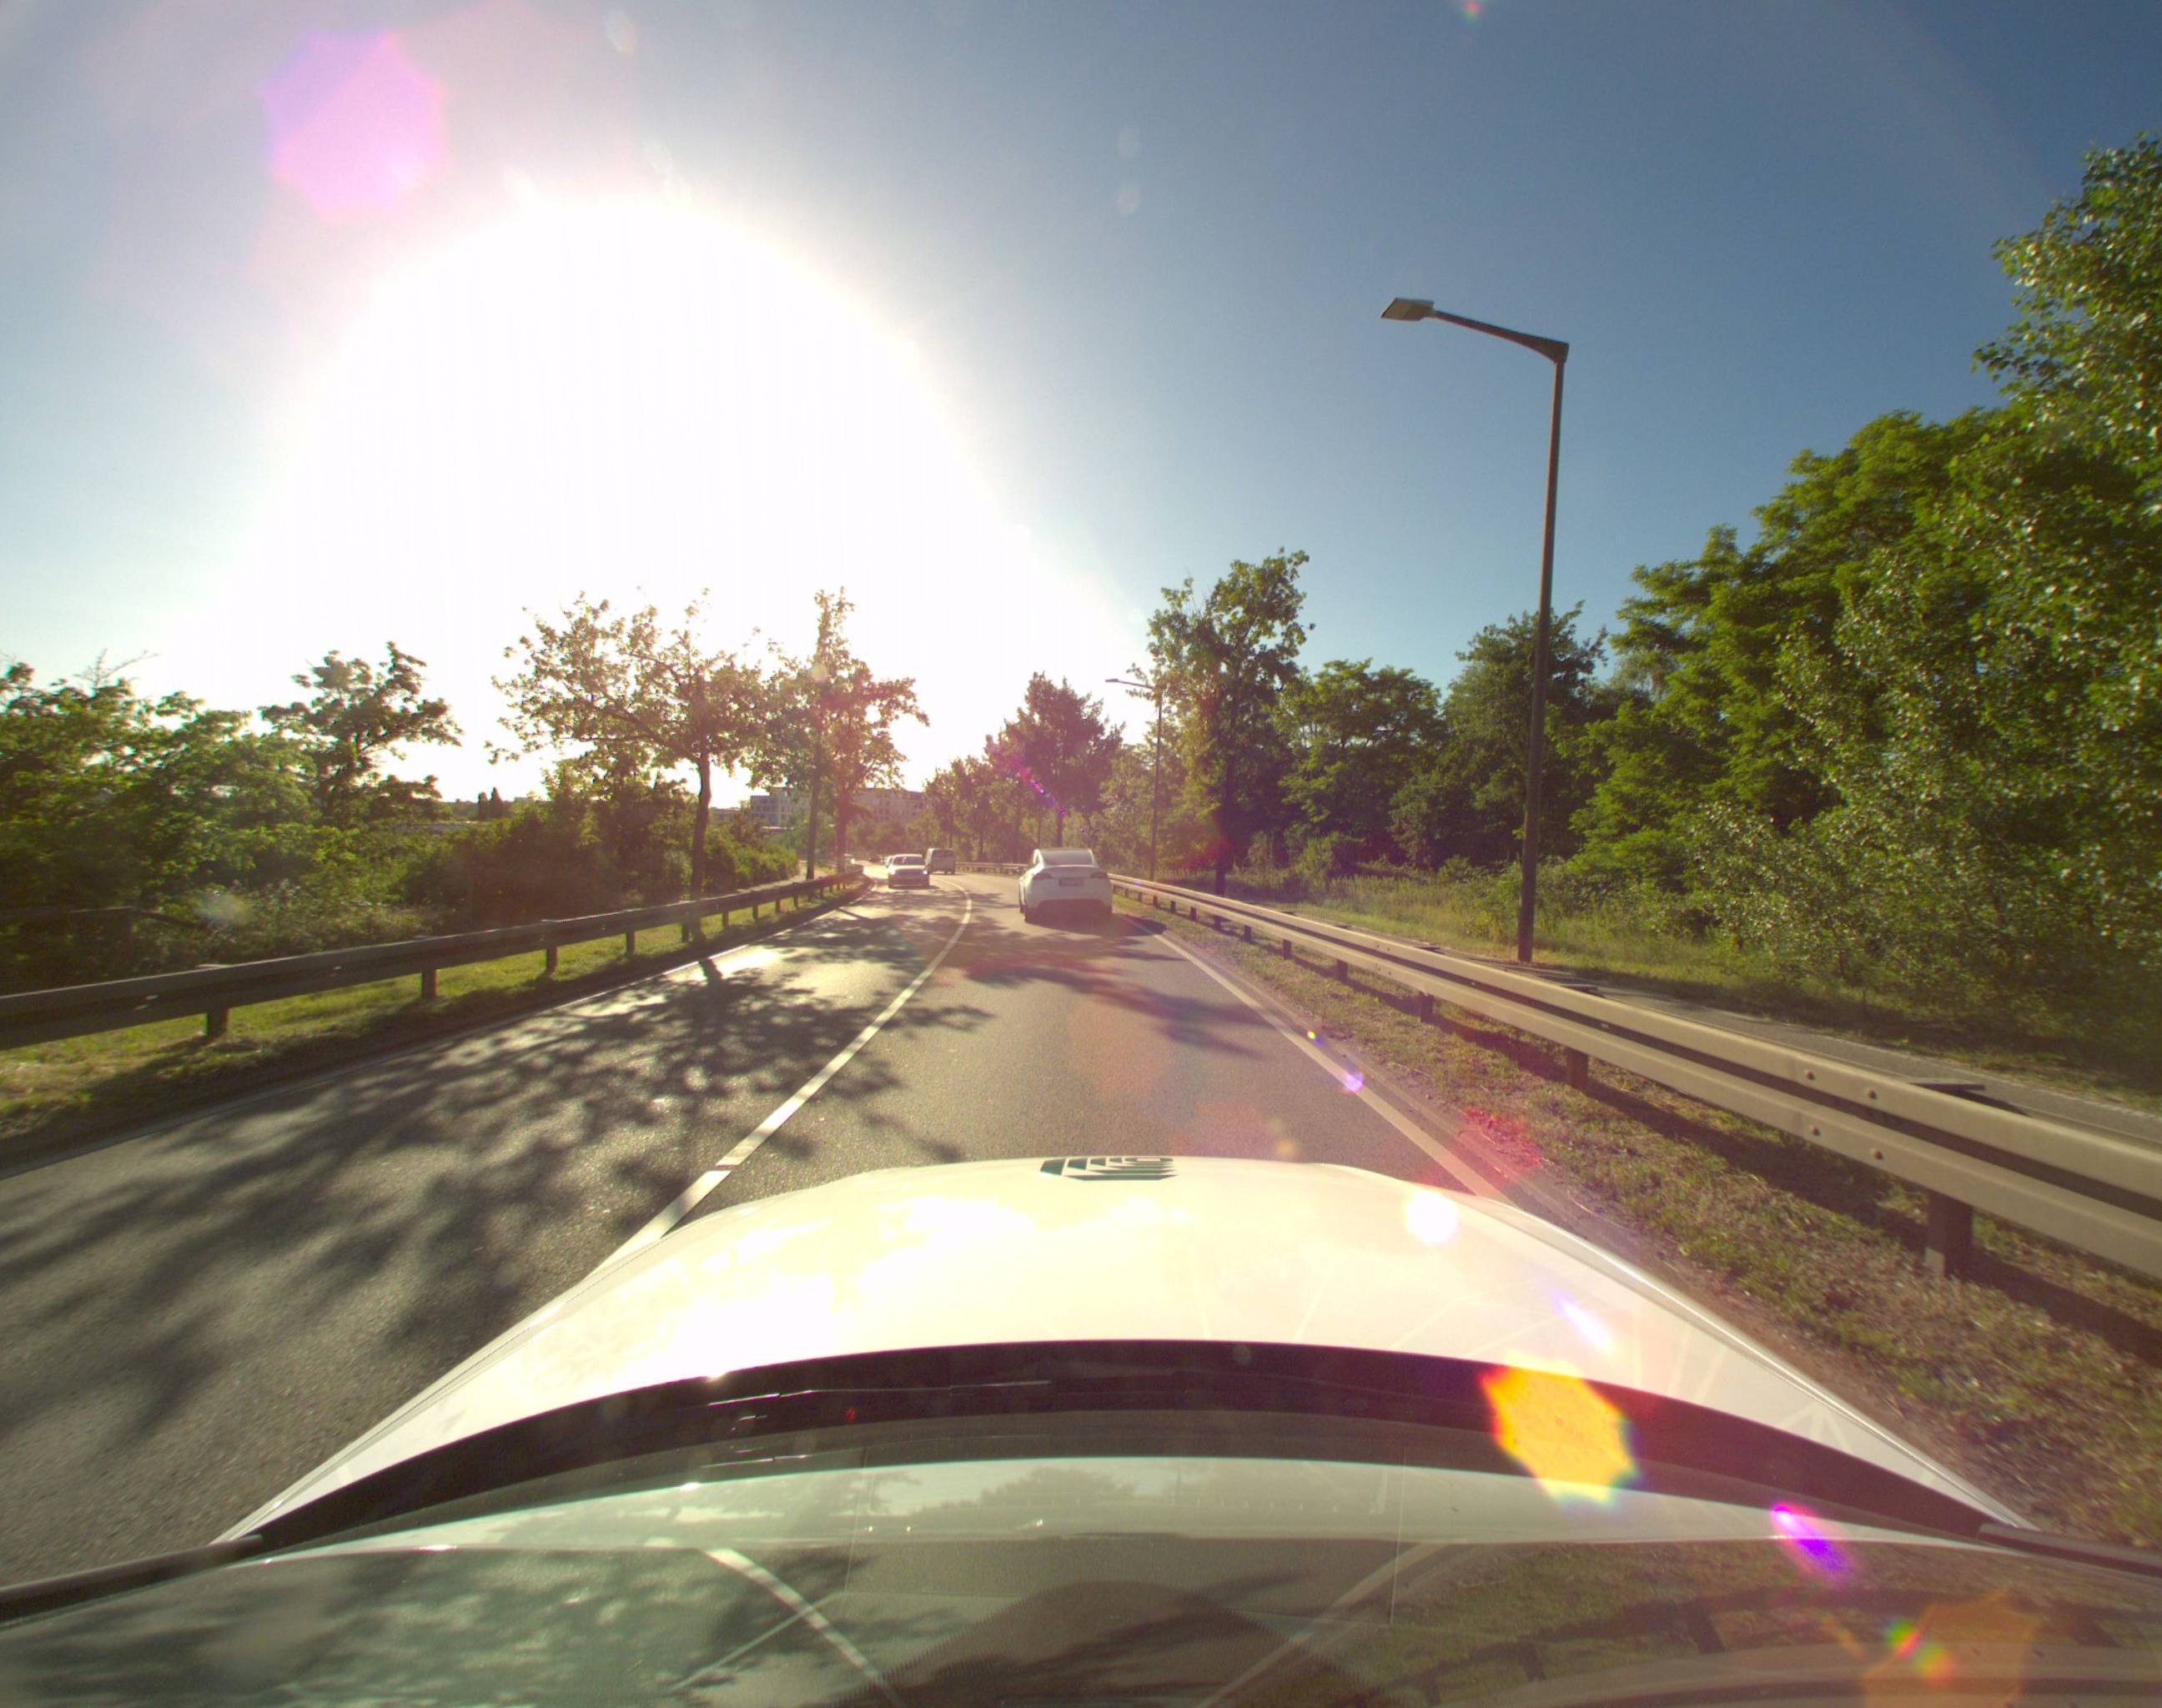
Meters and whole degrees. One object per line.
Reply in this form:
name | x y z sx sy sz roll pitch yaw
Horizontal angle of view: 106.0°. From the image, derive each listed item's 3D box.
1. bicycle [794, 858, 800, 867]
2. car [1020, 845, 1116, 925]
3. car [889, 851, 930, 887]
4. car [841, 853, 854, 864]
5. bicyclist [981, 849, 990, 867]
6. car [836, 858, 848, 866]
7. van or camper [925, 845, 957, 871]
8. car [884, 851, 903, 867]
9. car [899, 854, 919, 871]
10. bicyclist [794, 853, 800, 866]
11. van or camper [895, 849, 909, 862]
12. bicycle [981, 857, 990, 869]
bicycle | -34.977 1.058 100.179 0.662 1.095 2.094 0 0 -20
car | -0.421 0.637 18.984 1.911 1.641 4.401 0 0 -5
car | -7.597 0.630 36.173 1.696 1.518 3.965 0 0 -12
car | -34.592 0.669 120.457 1.813 1.554 4.117 0 0 -17
bicyclist | -8.305 0.352 70.962 0.706 1.578 1.002 0 -1 -6
car | -46.224 1.552 157.464 1.856 1.492 4.684 0 0 -20
van or camper | -10.478 0.297 60.665 1.962 1.884 4.854 0 0 -15
car | -22.847 0.637 99.241 1.910 1.802 4.114 2 0 -10
car | -16.311 0.818 77.027 1.607 1.435 3.659 2 -1 -15
bicyclist | -35.054 0.675 100.364 0.654 1.623 0.868 0 0 -21
van or camper | -27.059 0.213 122.968 1.829 1.791 4.521 3 1 -16
bicycle | -8.309 0.796 70.970 0.700 1.074 1.917 0 -2 -6
